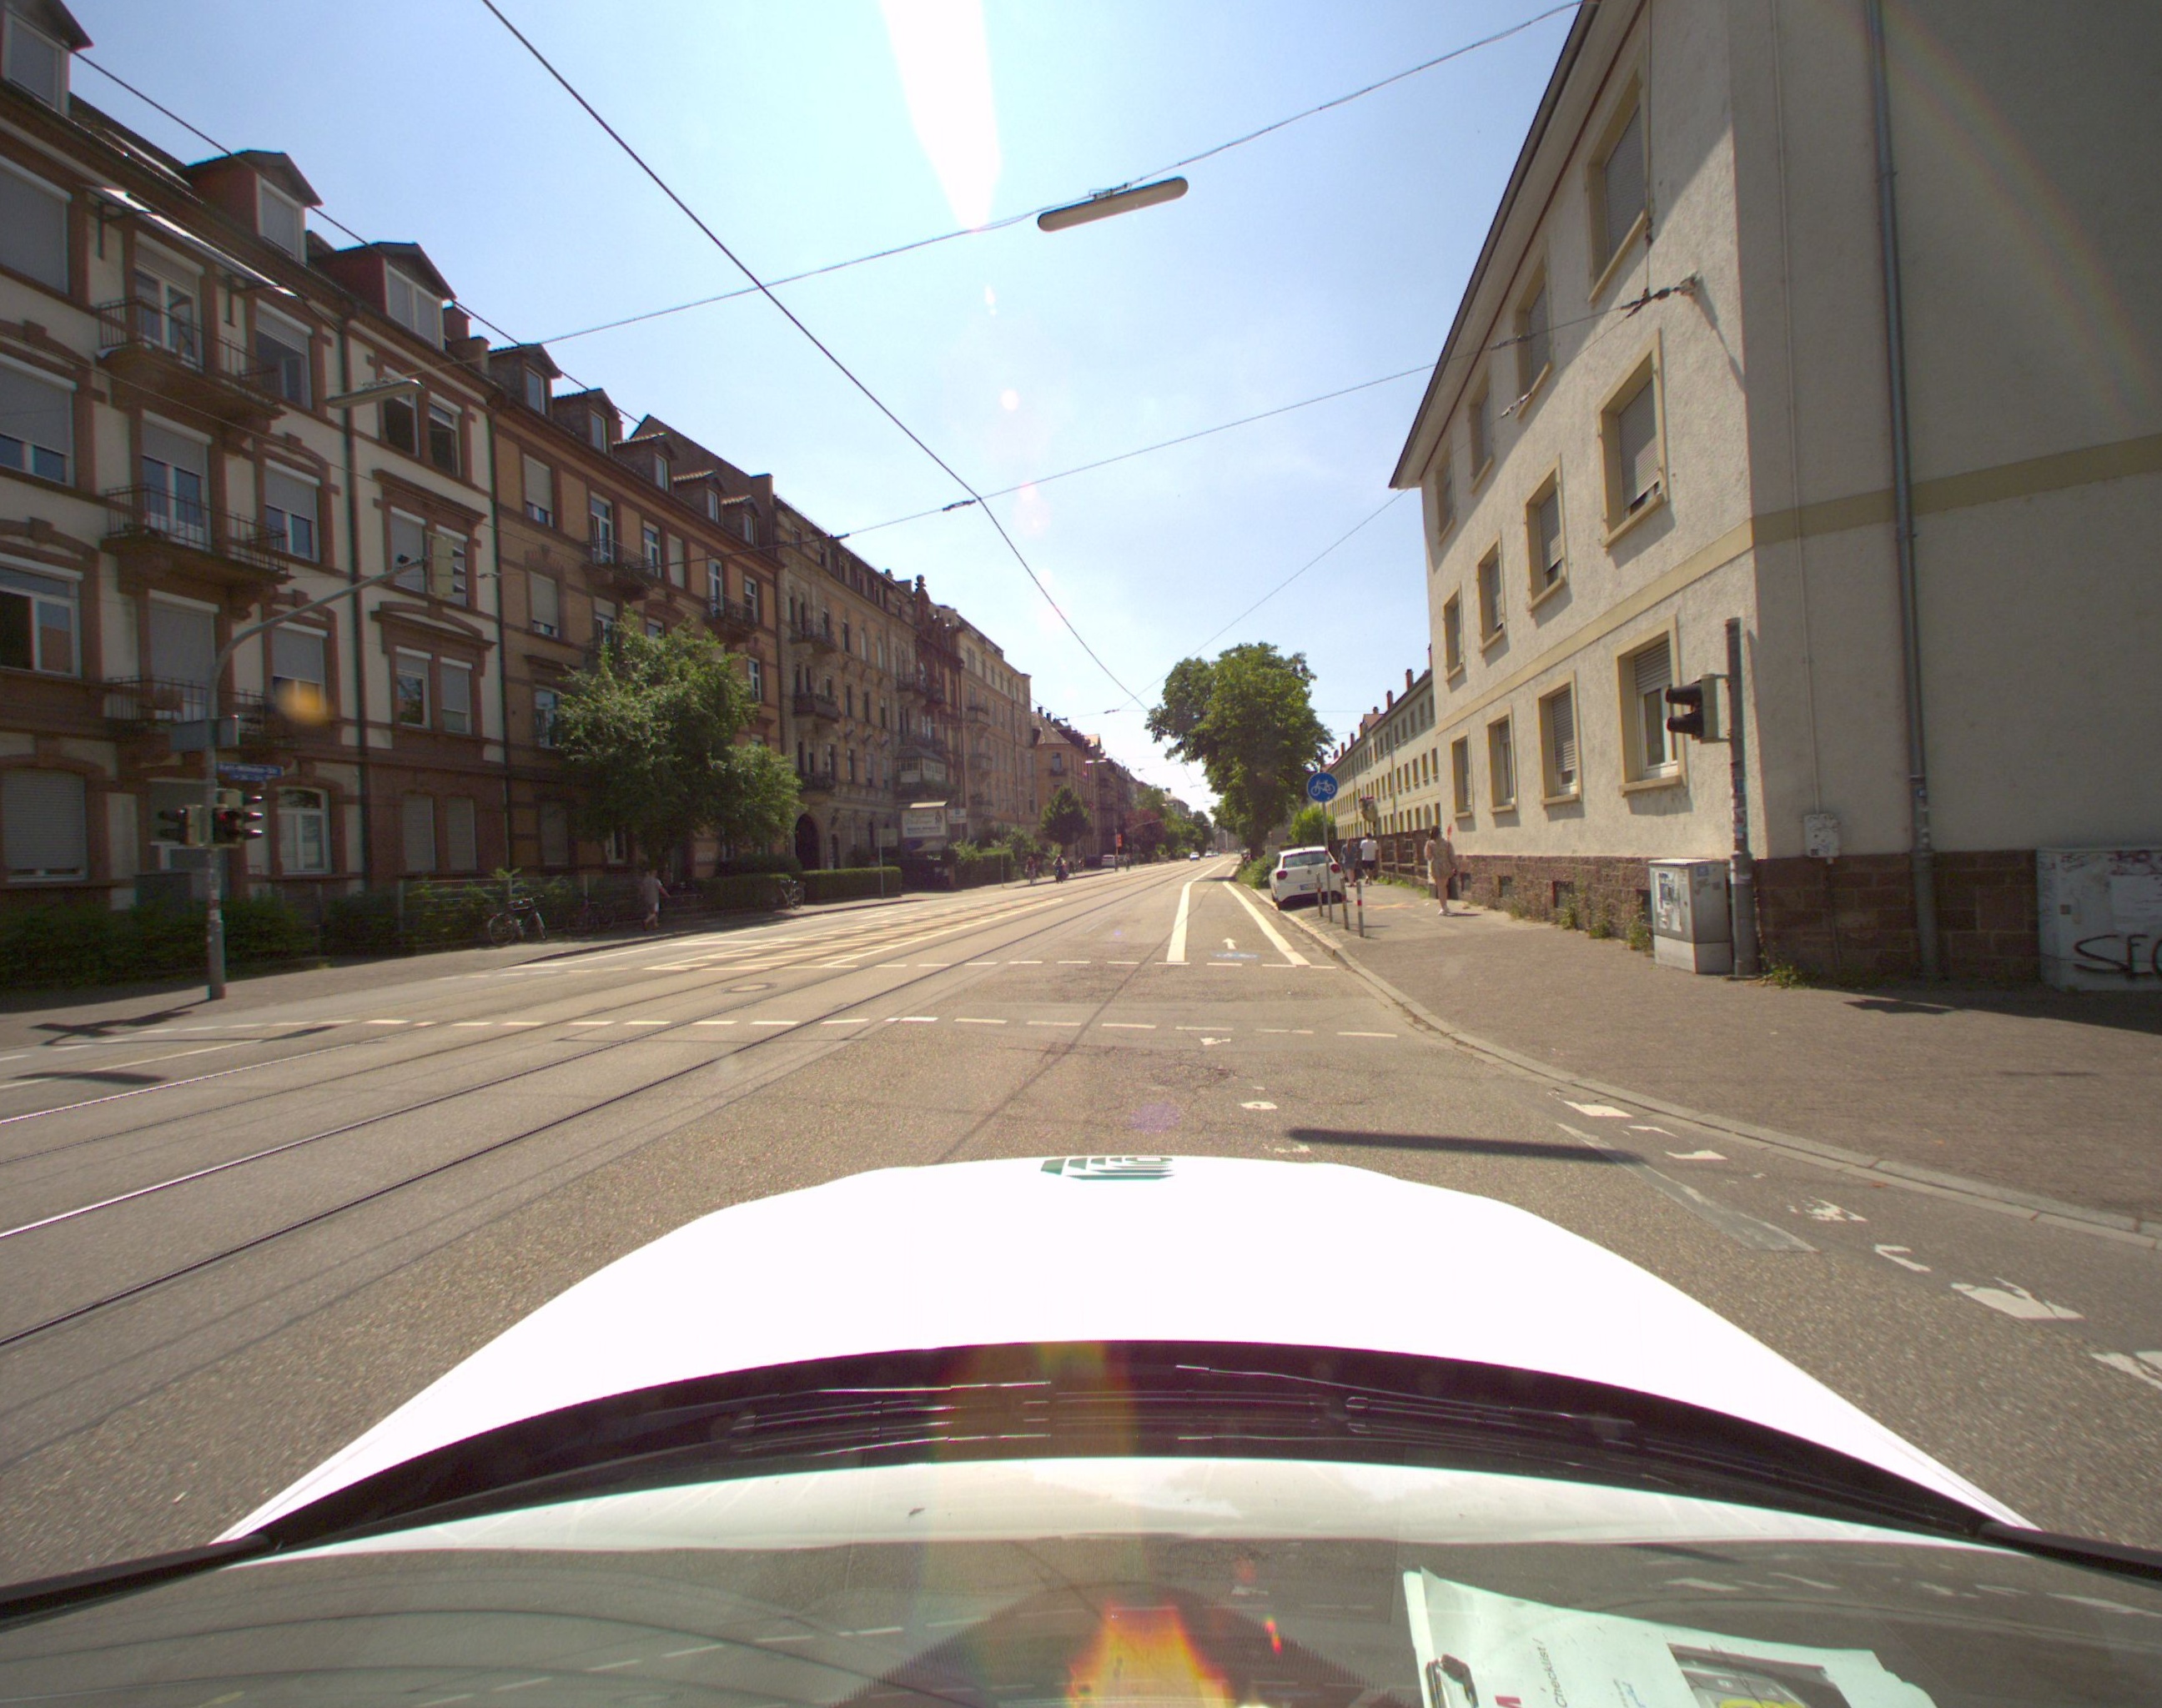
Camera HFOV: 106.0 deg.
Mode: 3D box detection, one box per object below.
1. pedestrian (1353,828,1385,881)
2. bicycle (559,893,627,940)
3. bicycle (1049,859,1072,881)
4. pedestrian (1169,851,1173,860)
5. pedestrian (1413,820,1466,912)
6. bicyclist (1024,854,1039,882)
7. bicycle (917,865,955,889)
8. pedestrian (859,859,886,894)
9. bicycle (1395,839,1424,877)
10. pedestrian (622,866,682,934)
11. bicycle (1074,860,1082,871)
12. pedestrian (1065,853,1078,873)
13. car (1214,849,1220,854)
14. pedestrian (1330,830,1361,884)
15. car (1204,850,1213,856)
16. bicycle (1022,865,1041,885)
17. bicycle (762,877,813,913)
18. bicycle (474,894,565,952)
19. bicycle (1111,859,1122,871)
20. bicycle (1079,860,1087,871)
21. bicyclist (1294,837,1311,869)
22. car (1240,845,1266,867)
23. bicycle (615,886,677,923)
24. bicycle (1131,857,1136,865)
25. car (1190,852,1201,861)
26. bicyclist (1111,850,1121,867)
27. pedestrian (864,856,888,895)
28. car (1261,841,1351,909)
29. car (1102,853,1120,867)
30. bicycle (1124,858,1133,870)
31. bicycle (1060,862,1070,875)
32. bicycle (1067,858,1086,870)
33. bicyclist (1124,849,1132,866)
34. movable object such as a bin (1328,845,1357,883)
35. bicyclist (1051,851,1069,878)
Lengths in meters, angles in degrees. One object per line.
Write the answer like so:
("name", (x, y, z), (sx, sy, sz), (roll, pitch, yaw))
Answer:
("pedestrian", (9.431, 0.011, 26.686), (0.693, 1.669, 0.758), (-6, -1, 10))
("bicycle", (-12.469, 1.588, 20.869), (0.456, 1.056, 1.570), (-3, 0, 14))
("bicycle", (-1.281, 0.977, 51.097), (0.802, 1.271, 2.559), (-3, 0, 12))
("pedestrian", (17.209, 0.256, 155.807), (0.746, 1.629, 0.835), (-3, -1, 8))
("pedestrian", (6.789, 0.228, 15.453), (0.693, 1.669, 0.758), (-3, 0, 10))
("bicyclist", (-2.862, 0.802, 46.989), (0.559, 1.515, 0.895), (-3, 0, 12))
("bicycle", (-7.638, 1.196, 42.885), (1.859, 1.227, 0.570), (-1, 0, 8))
("pedestrian", (-10.624, 1.145, 41.502), (0.899, 1.700, 0.829), (-3, 0, 38))
("bicycle", (10.784, 0.110, 26.778), (0.592, 1.175, 1.760), (-3, 0, 15))
("pedestrian", (-11.335, 1.191, 21.558), (0.865, 1.700, 1.018), (-3, 0, 17))
("bicycle", (-0.249, 1.050, 73.968), (0.436, 0.983, 1.715), (-3, 0, 10))
("pedestrian", (-0.833, 0.791, 69.946), (0.846, 1.723, 1.142), (0, 0, 12))
("car", (41.702, -0.643, 248.961), (1.675, 1.454, 3.760), (-3, 0, 11))
("pedestrian", (8.579, 0.097, 26.417), (0.693, 1.669, 0.871), (-6, -1, 10))
("car", (31.503, -0.232, 201.164), (1.744, 1.424, 4.013), (-4, 0, 12))
("bicycle", (-2.827, 1.188, 47.021), (0.564, 1.038, 1.835), (-3, 0, 12))
("bicycle", (-10.133, 1.400, 28.185), (0.633, 1.093, 1.939), (-1, 0, 14))
("bicycle", (-12.879, 1.561, 18.746), (0.569, 1.169, 1.723), (-3, 0, 14))
("bicycle", (3.409, 1.032, 78.177), (0.625, 1.078, 1.881), (-4, 0, 11))
("bicycle", (0.169, 1.054, 75.973), (0.436, 0.983, 1.715), (-3, 0, 10))
("bicyclist", (10.563, -0.047, 38.856), (0.706, 1.452, 1.014), (-3, 0, 13))
("car", (13.370, 0.132, 63.553), (1.722, 1.552, 4.466), (-3, 0, 10))
("bicycle", (-12.709, 1.474, 23.797), (1.635, 0.996, 0.497), (-3, 0, 12))
("bicycle", (7.116, 0.932, 110.497), (0.451, 1.003, 1.810), (-3, 0, 8))
("car", (20.014, 0.377, 142.538), (1.674, 1.449, 4.012), (-4, 0, 11))
("bicyclist", (3.359, 0.399, 78.137), (0.630, 1.584, 1.031), (-4, 0, 11))
("pedestrian", (-10.162, 1.061, 40.364), (0.820, 1.857, 0.868), (-3, 0, -37))
("car", (5.838, 0.483, 21.588), (1.766, 1.410, 4.168), (-8, -1, 10))
("car", (3.729, 0.763, 101.893), (1.856, 1.600, 4.109), (-2, 0, 6))
("bicycle", (4.565, 0.949, 78.117), (0.577, 1.078, 1.896), (-4, 0, 11))
("bicycle", (-1.362, 1.223, 68.927), (0.493, 0.987, 1.715), (1, 1, 10))
("bicycle", (-0.431, 0.922, 77.480), (1.692, 1.037, 0.553), (-3, 0, 15))
("bicyclist", (4.519, 0.323, 78.139), (0.588, 1.544, 0.955), (-4, 0, 11))
("movable object such as a bin", (8.766, 0.331, 27.357), (0.693, 1.186, 1.039), (-6, -1, 10))
("bicyclist", (-1.304, 0.646, 51.106), (0.802, 1.629, 0.984), (-3, 0, 12))
